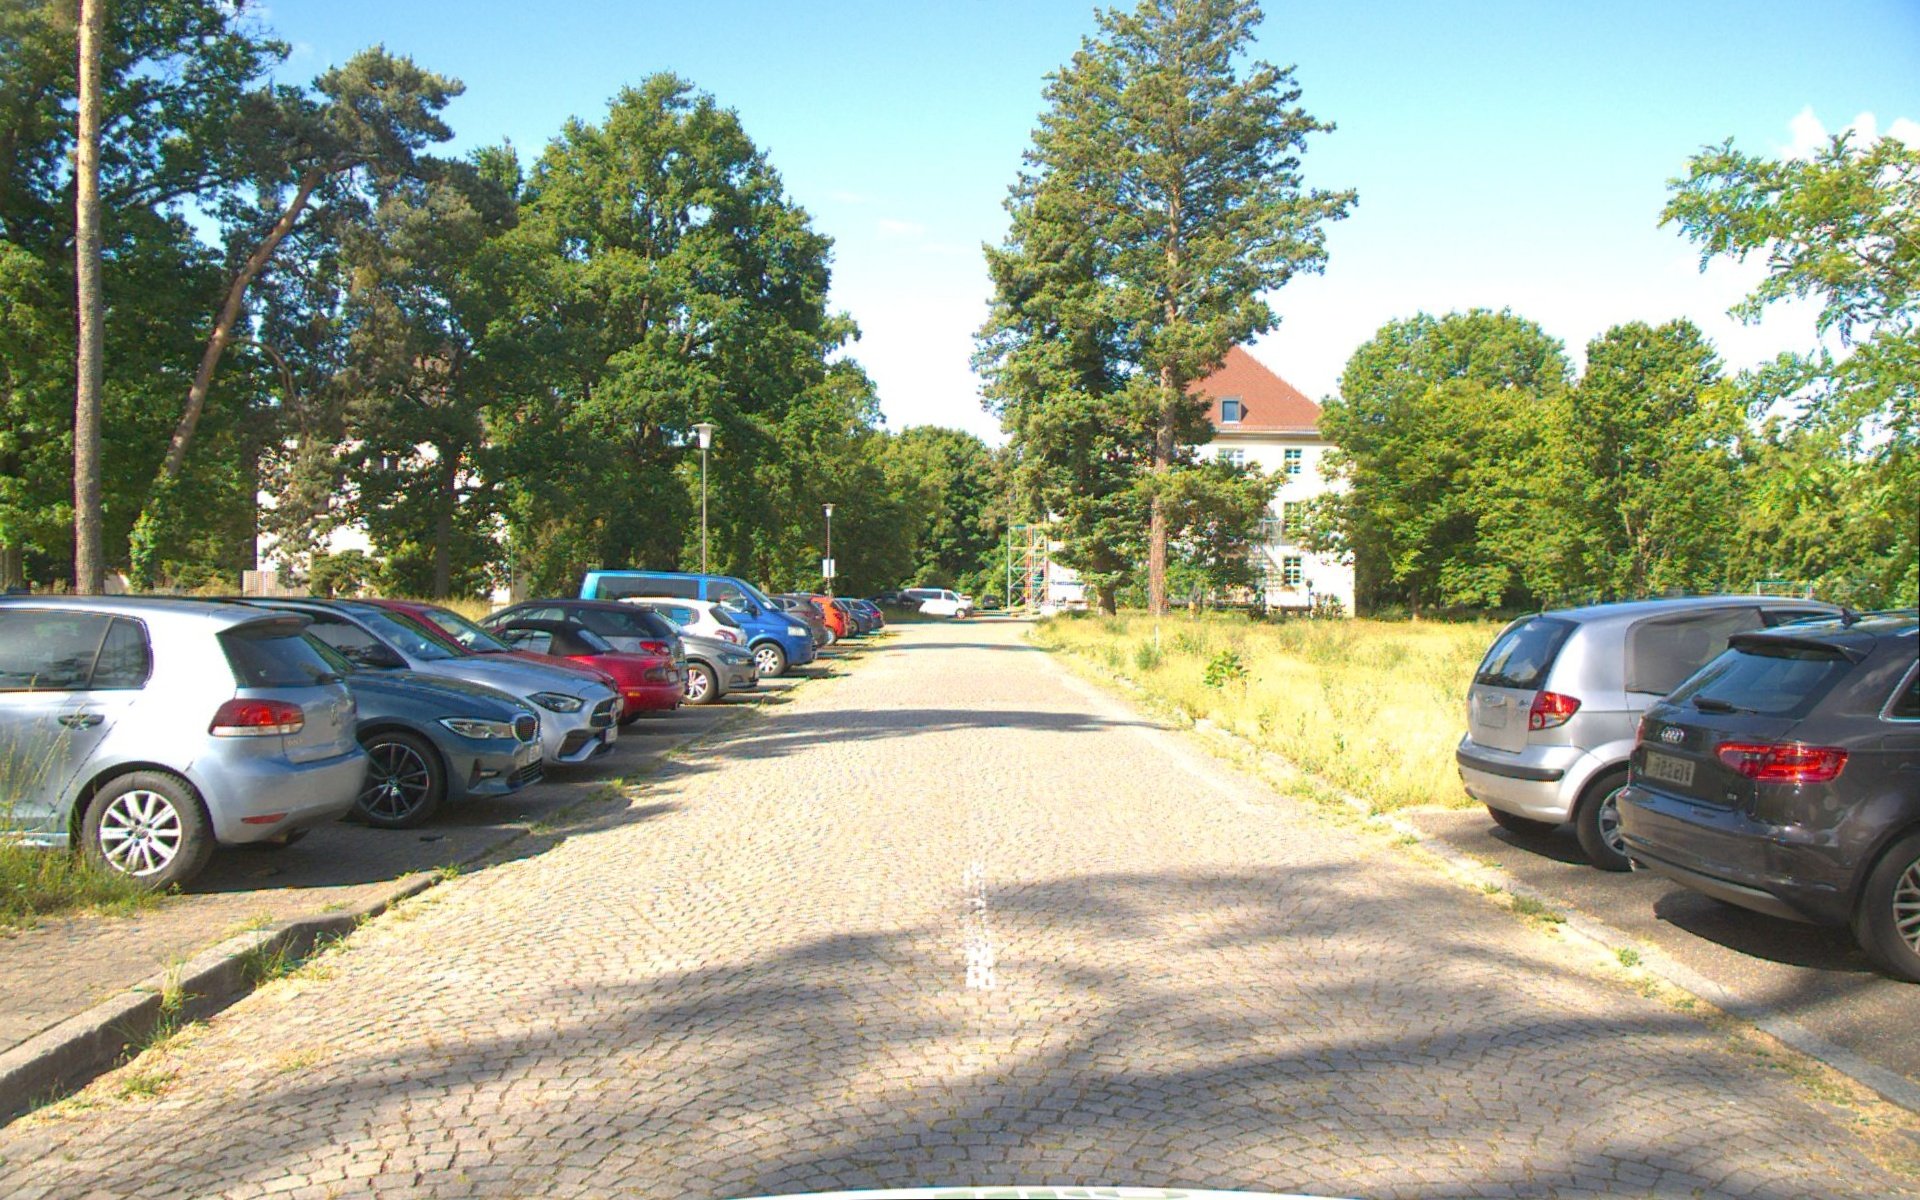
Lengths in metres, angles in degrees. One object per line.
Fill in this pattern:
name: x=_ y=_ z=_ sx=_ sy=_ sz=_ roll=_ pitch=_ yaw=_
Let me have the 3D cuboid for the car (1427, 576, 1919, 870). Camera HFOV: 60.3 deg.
car: x=4.974 y=0.660 z=10.119 sx=3.665 sy=1.502 sz=1.751 roll=-3 pitch=0 yaw=-2

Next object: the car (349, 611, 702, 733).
car: x=-4.929 y=0.805 z=19.117 sx=3.556 sy=1.256 sz=1.760 roll=1 pitch=-1 yaw=1

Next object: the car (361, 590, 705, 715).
car: x=-5.535 y=0.673 z=21.782 sx=3.993 sy=1.477 sz=1.822 roll=1 pitch=-1 yaw=1

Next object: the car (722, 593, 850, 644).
car: x=-5.435 y=0.562 z=52.106 sx=3.844 sy=1.486 sz=1.841 roll=1 pitch=0 yaw=-2

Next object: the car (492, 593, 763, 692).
car: x=-5.455 y=0.680 z=27.550 sx=4.110 sy=1.501 sz=1.824 roll=1 pitch=0 yaw=-1

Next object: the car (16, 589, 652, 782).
car: x=-5.285 y=0.711 z=14.459 sx=4.765 sy=1.446 sz=1.938 roll=2 pitch=-1 yaw=0

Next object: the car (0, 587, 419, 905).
car: x=-5.286 y=0.699 z=9.119 sx=3.945 sy=1.509 sz=1.948 roll=1 pitch=1 yaw=-2

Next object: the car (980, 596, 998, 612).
car: x=3.187 y=0.421 z=182.327 sx=1.931 sy=1.697 sz=4.085 roll=0 pitch=0 yaw=-1

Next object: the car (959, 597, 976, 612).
car: x=0.832 y=0.478 z=182.008 sx=1.775 sy=1.607 sz=4.134 roll=0 pitch=0 yaw=-1

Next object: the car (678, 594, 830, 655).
car: x=-5.499 y=0.649 z=44.512 sx=3.844 sy=1.474 sz=1.866 roll=2 pitch=0 yaw=-2

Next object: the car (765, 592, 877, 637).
car: x=-5.203 y=0.535 z=62.392 sx=4.050 sy=1.607 sz=1.884 roll=1 pitch=0 yaw=0

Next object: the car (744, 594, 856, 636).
car: x=-5.766 y=0.531 z=59.990 sx=3.842 sy=1.458 sz=1.842 roll=1 pitch=0 yaw=1

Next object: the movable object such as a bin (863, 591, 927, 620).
movable object such as a bin: x=-4.056 y=0.334 z=102.867 sx=3.491 sy=1.775 sz=2.026 roll=0 pitch=0 yaw=18

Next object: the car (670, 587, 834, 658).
car: x=-5.200 y=0.548 z=41.784 sx=3.873 sy=1.595 sz=1.973 roll=2 pitch=1 yaw=-2

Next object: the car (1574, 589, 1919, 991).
car: x=5.064 y=0.674 z=7.375 sx=3.924 sy=1.466 sz=1.843 roll=-3 pitch=0 yaw=-2

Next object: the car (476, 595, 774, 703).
car: x=-4.916 y=0.698 z=24.672 sx=3.993 sy=1.450 sz=1.923 roll=1 pitch=0 yaw=1

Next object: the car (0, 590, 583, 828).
car: x=-5.139 y=0.713 z=11.741 sx=4.490 sy=1.477 sz=1.983 roll=1 pitch=-1 yaw=-4

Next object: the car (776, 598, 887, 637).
car: x=-5.172 y=0.689 z=67.075 sx=4.269 sy=1.470 sz=1.921 roll=1 pitch=0 yaw=2

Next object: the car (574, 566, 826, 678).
car: x=-5.090 y=0.426 z=32.834 sx=4.621 sy=2.002 sz=2.005 roll=2 pitch=0 yaw=-1

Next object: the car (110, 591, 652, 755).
car: x=-5.720 y=0.703 z=16.799 sx=4.765 sy=1.446 sz=1.938 roll=2 pitch=0 yaw=0

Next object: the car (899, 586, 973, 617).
car: x=-1.697 y=0.104 z=115.982 sx=5.128 sy=2.051 sz=1.950 roll=0 pitch=0 yaw=-1
